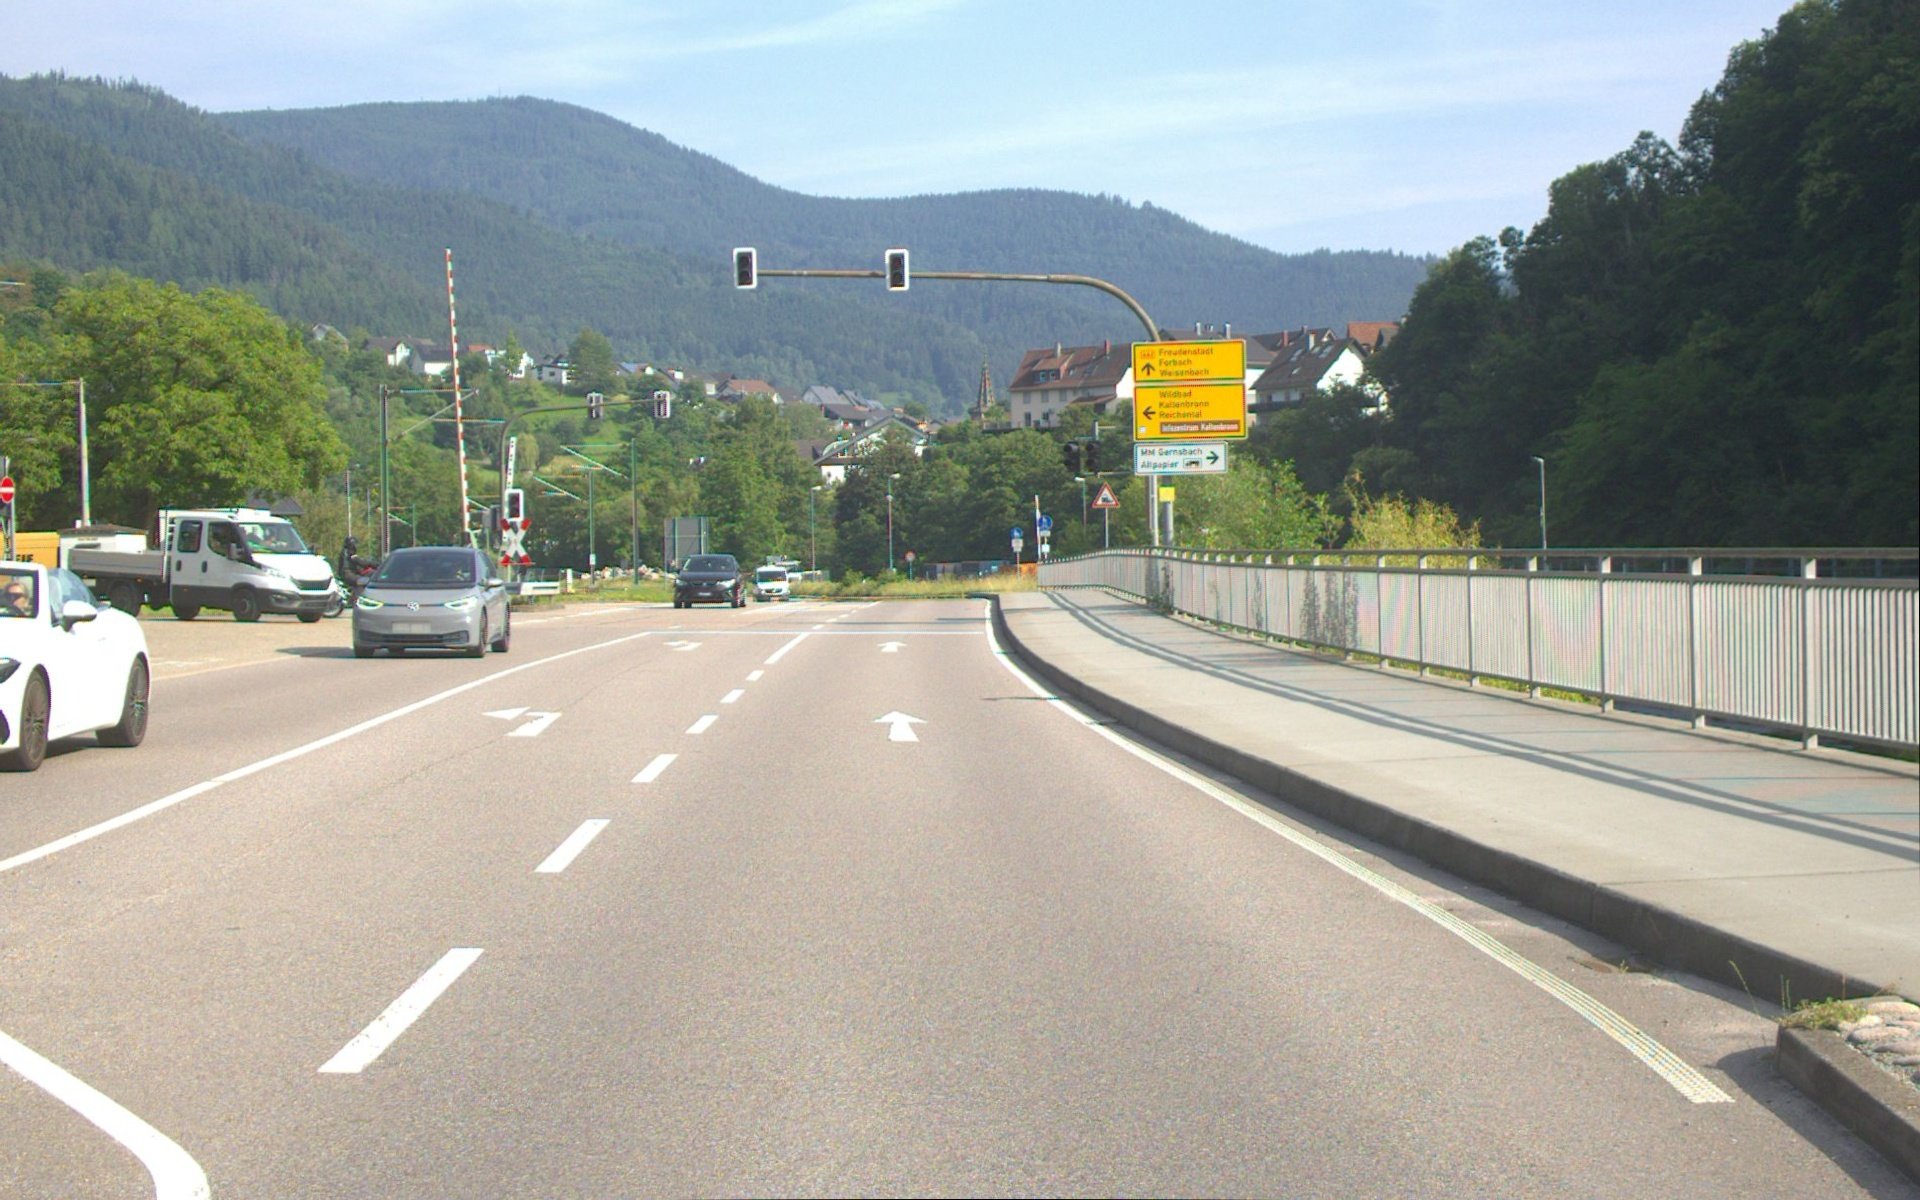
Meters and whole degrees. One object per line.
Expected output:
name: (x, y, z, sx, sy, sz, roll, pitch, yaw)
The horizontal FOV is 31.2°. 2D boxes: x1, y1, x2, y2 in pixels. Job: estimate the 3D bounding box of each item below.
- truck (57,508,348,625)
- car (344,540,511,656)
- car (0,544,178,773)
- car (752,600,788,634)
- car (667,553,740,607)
truck: (-15.459, -0.716, 70.072, 5.993, 2.258, 1.997, 1, 1, 30)
car: (-7.475, -0.063, 48.613, 1.758, 1.516, 4.205, 1, 1, -1)
car: (-6.802, 0.322, 23.741, 1.782, 1.395, 4.827, 1, 1, -1)
car: (-11.377, 1.029, 206.232, 1.993, 2.007, 4.557, 1, 0, -2)
car: (-6.853, -0.537, 91.988, 1.773, 1.412, 3.785, 0, 1, -2)
